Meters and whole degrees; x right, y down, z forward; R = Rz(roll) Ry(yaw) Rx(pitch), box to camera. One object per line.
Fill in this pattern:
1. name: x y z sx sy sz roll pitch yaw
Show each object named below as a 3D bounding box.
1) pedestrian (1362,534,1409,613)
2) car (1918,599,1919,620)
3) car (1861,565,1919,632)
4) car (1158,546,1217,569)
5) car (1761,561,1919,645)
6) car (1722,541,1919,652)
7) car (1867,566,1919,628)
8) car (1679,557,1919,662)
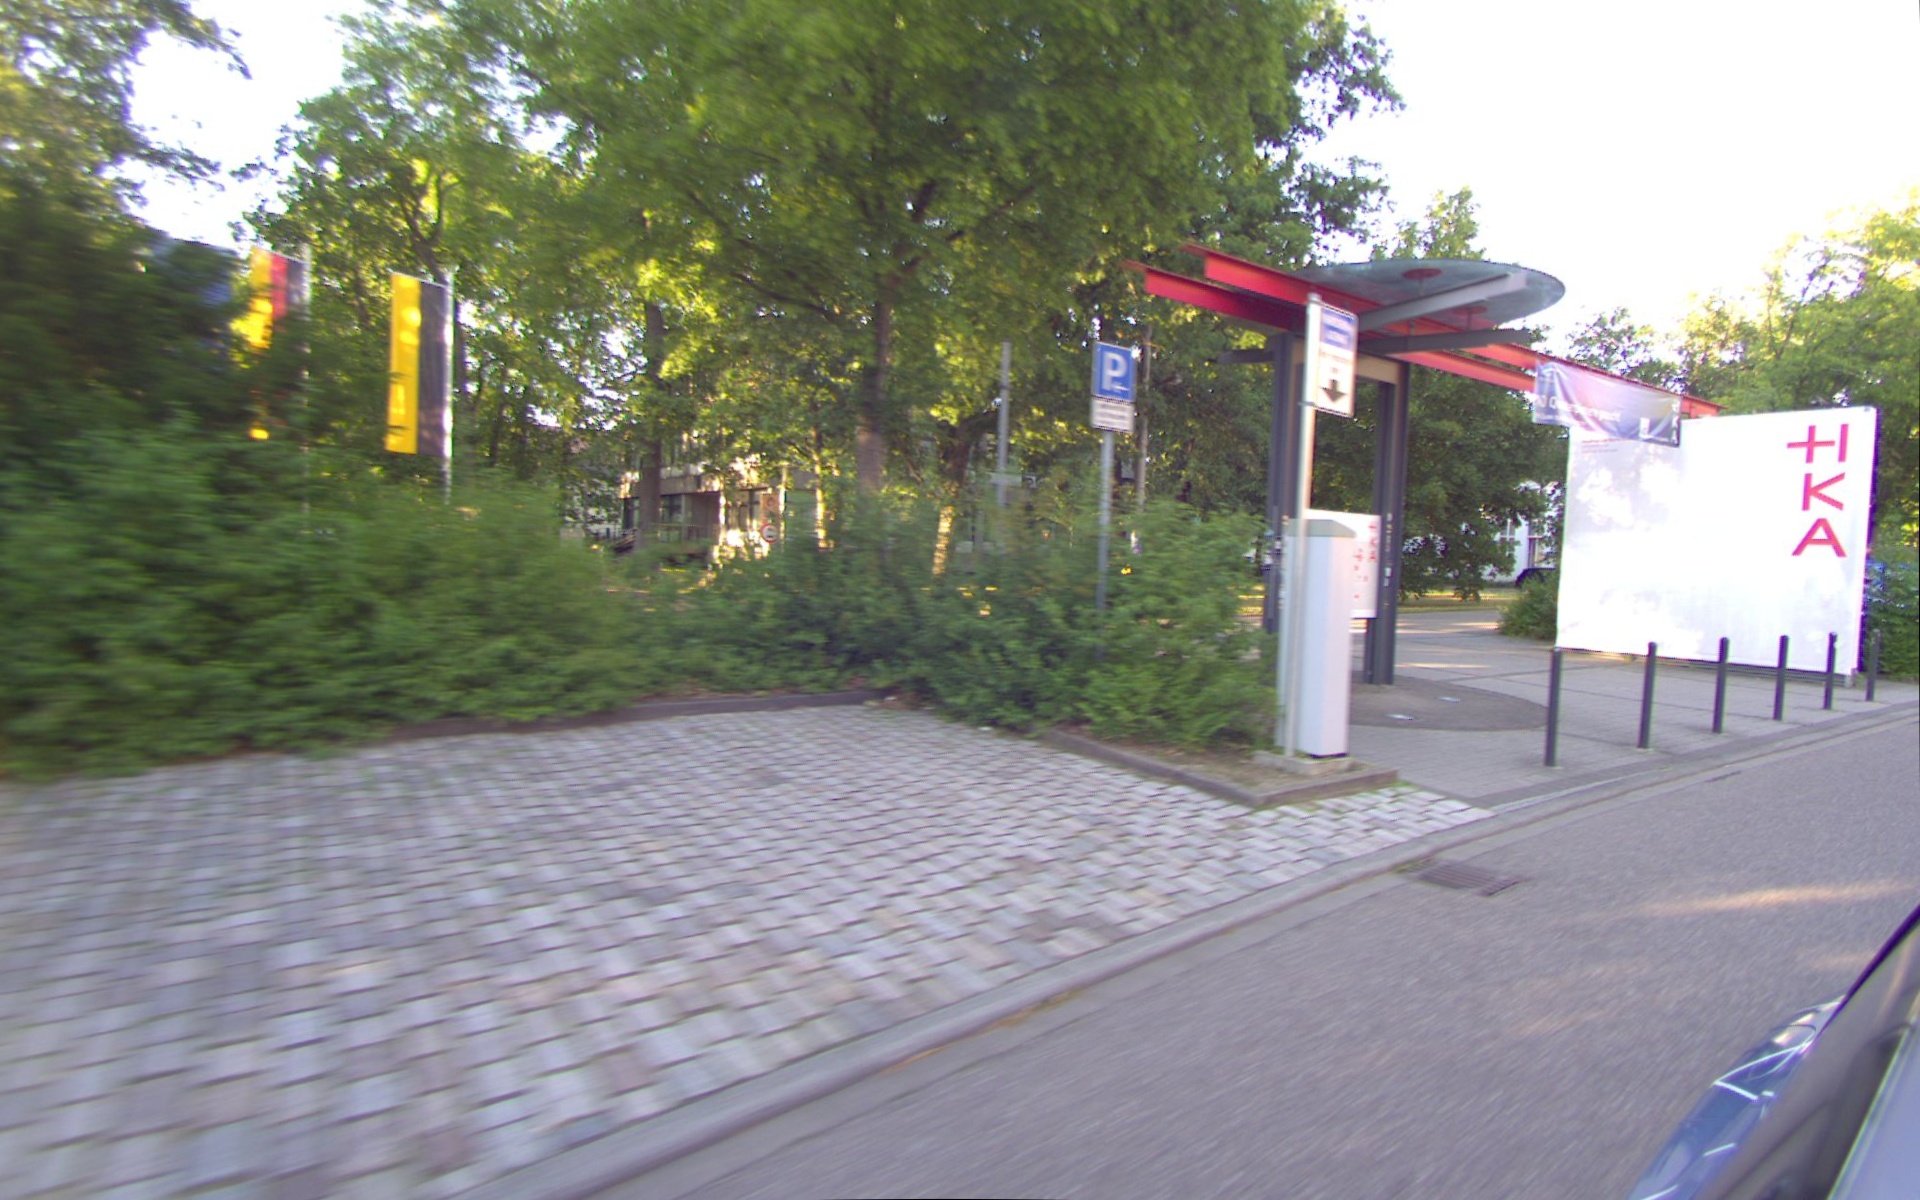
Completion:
1. pedestrian: 9.985 -0.627 23.764 0.771 1.794 0.665 0 3 -39
2. car: 29.245 -0.018 27.451 1.841 1.572 4.381 0 6 -35
3. car: 24.628 0.104 24.072 1.884 1.555 4.381 0 6 -35
4. car: 16.133 -3.017 71.856 1.704 1.494 4.003 0 4 -34
5. car: 20.656 0.119 21.773 1.880 1.572 4.947 0 6 -35
6. car: 18.594 -0.057 20.283 1.880 1.938 4.873 0 6 -35
7. car: 26.812 0.066 26.341 1.884 1.555 4.381 0 6 -35
8. car: 16.627 0.161 18.763 1.880 1.572 4.947 0 6 -35
